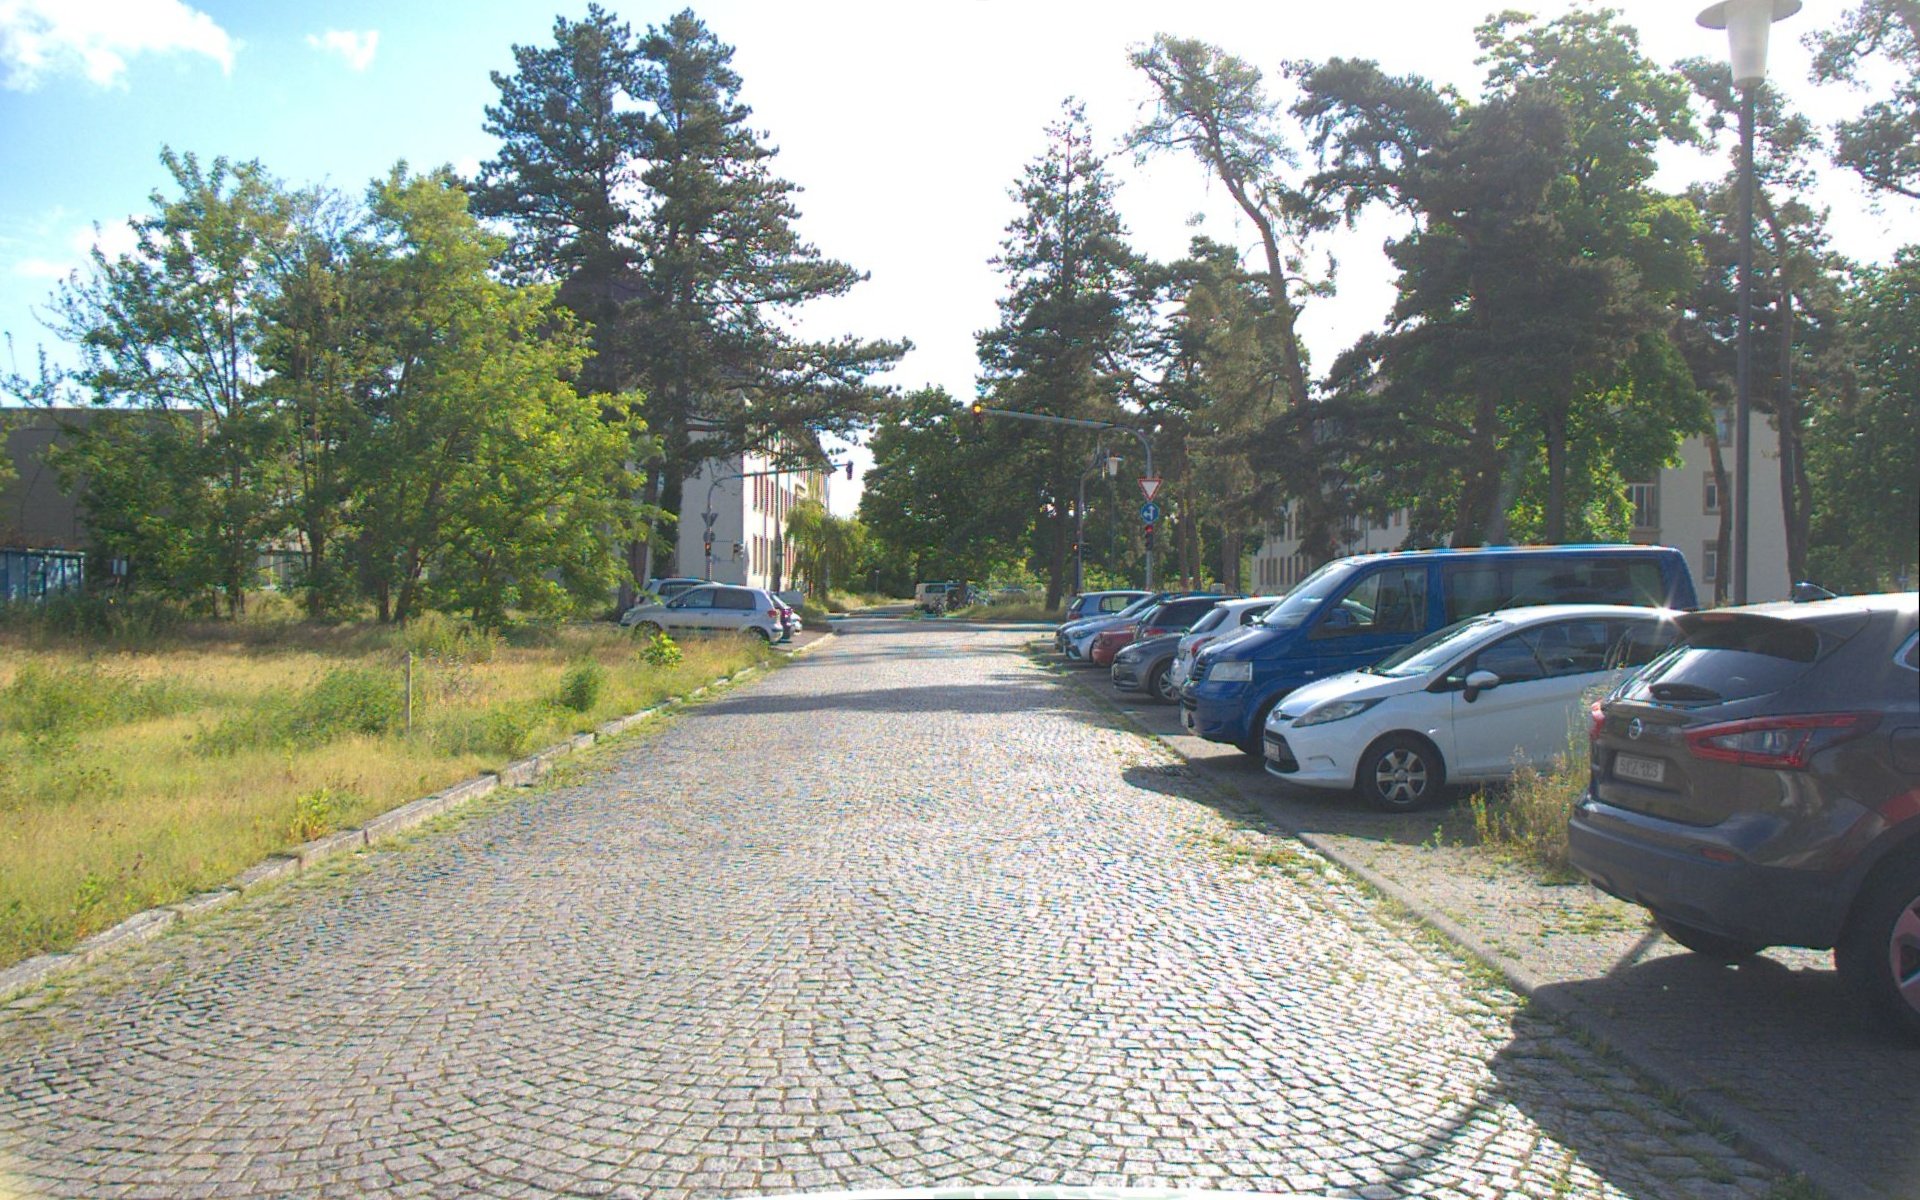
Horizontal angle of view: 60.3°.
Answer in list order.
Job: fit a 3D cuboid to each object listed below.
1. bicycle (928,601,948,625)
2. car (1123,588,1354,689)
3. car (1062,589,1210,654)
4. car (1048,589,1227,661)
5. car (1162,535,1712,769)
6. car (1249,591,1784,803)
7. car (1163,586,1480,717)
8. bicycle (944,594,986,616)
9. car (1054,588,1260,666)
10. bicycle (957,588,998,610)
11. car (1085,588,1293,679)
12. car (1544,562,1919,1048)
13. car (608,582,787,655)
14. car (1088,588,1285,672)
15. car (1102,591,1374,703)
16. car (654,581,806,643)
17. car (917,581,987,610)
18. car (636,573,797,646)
[{"bbox_3d":[-1.148,0.644,84.738,0.789,1.190,2.177,-1,1,-7],"label":"bicycle"},{"bbox_3d":[4.436,0.596,26.668,3.408,1.556,1.645,0,0,-2],"label":"car"},{"bbox_3d":[4.150,0.497,39.306,3.276,1.508,1.645,0,0,-2],"label":"car"},{"bbox_3d":[3.898,0.539,36.661,3.758,1.556,1.645,0,0,-2],"label":"car"},{"bbox_3d":[4.379,0.456,15.682,4.584,2.049,2.082,0,0,-4],"label":"car"},{"bbox_3d":[4.259,0.702,13.001,3.645,1.514,1.644,0,0,-3],"label":"car"},{"bbox_3d":[4.484,0.621,20.862,3.619,1.491,1.645,-1,0,0],"label":"car"},{"bbox_3d":[0.269,0.258,88.226,2.134,1.119,0.805,1,0,-11],"label":"bicycle"},{"bbox_3d":[3.995,0.537,33.891,3.955,1.556,1.644,0,0,-5],"label":"car"},{"bbox_3d":[0.942,-0.049,89.450,2.134,1.119,0.805,1,0,-11],"label":"bicycle"},{"bbox_3d":[4.017,0.570,29.351,3.408,1.556,1.645,0,0,-2],"label":"car"},{"bbox_3d":[4.570,0.697,6.588,3.857,1.650,1.771,0,0,-2],"label":"car"},{"bbox_3d":[-6.017,0.418,38.333,3.908,1.628,1.999,0,0,-4],"label":"car"},{"bbox_3d":[4.311,0.554,31.818,3.530,1.556,1.645,0,0,-2],"label":"car"},{"bbox_3d":[3.928,0.645,23.739,3.601,1.493,1.645,-1,0,-2],"label":"car"},{"bbox_3d":[-6.355,0.316,46.117,3.907,1.478,1.999,3,0,-2],"label":"car"},{"bbox_3d":[-0.513,-0.263,105.682,4.390,1.758,1.999,1,0,-2],"label":"car"},{"bbox_3d":[-6.383,0.230,43.715,3.907,1.629,1.999,4,0,-2],"label":"car"}]
